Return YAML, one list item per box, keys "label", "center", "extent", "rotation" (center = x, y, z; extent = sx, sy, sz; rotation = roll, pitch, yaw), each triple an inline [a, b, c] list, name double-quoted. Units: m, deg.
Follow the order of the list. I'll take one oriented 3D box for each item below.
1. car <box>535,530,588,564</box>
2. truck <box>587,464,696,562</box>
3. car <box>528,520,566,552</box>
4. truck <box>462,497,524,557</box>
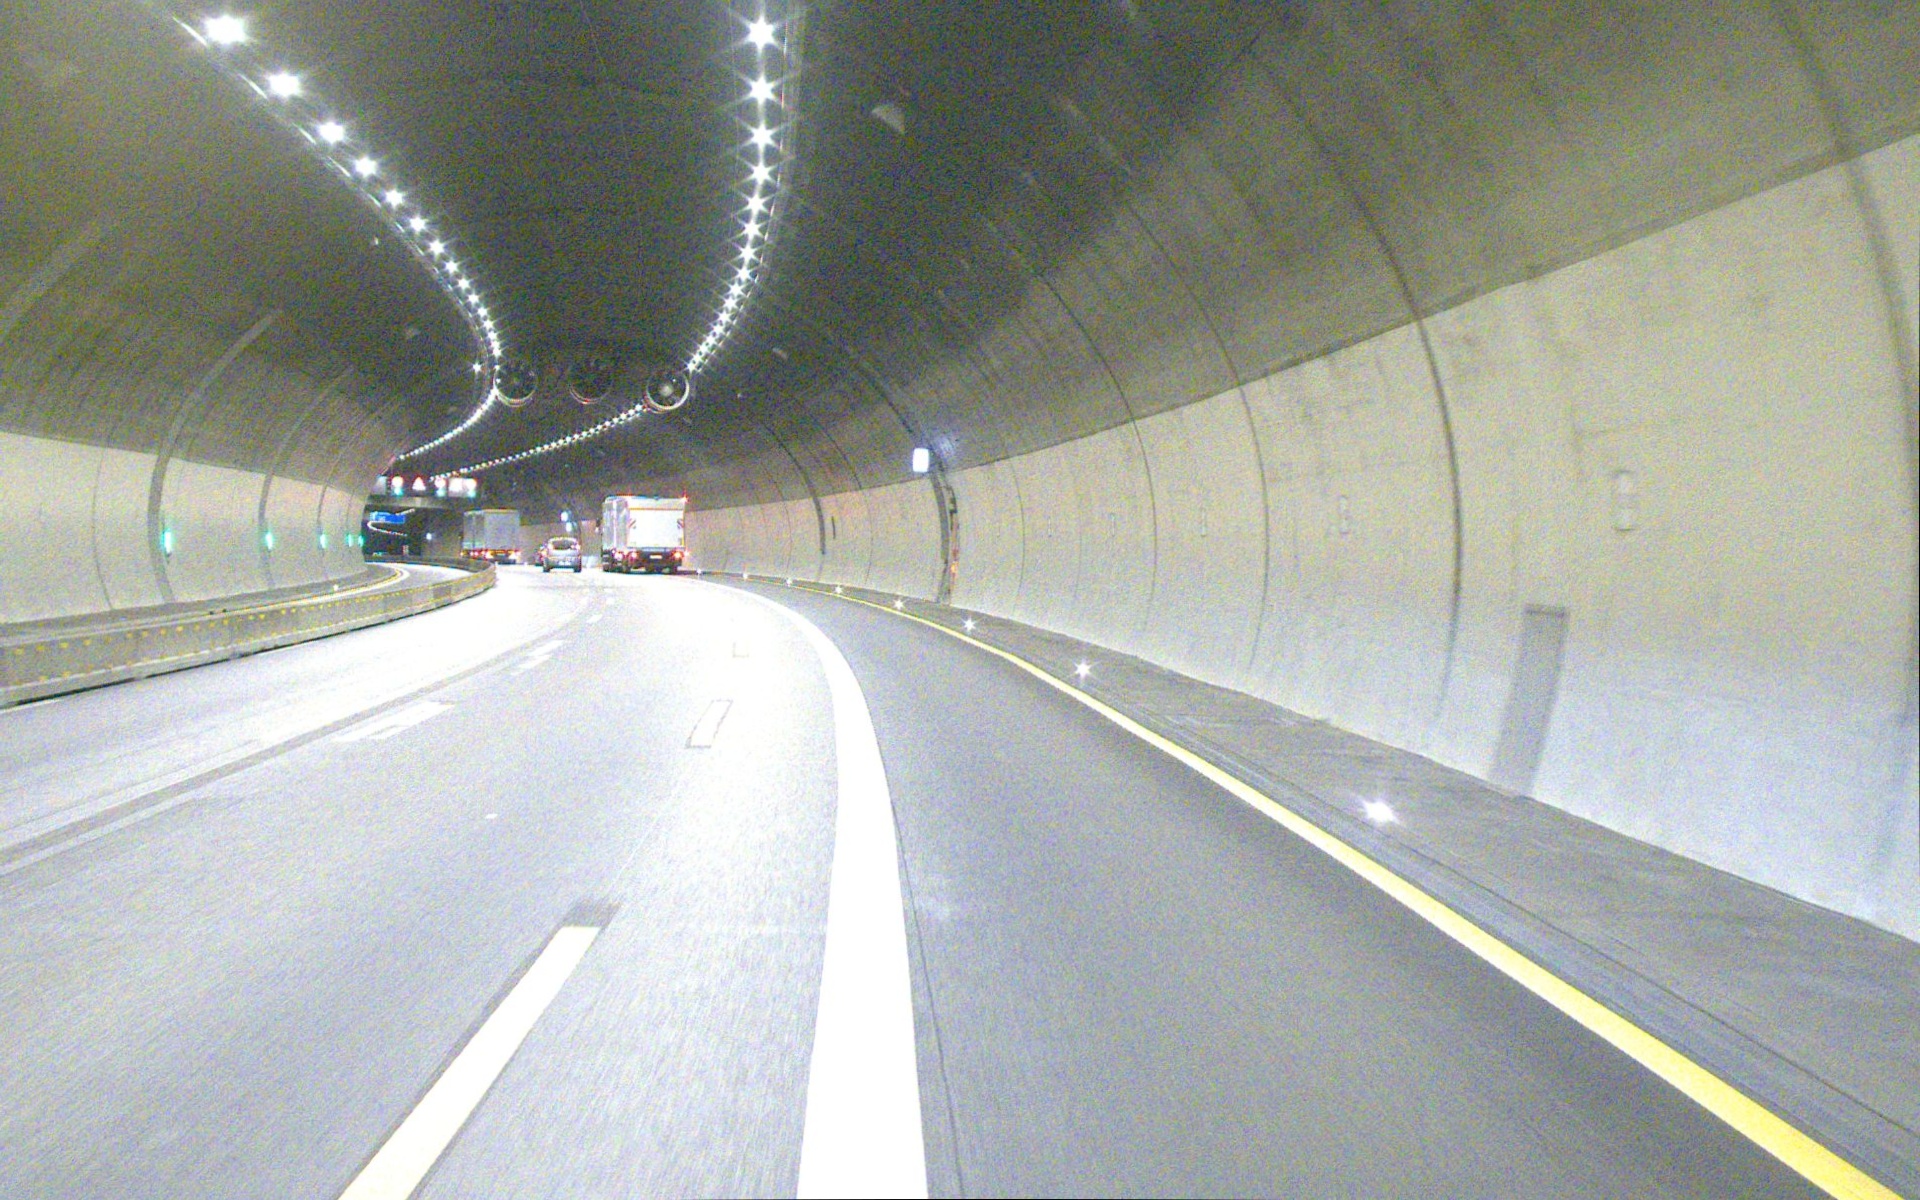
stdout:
- label: "car"
  center: [-18.779, -2.505, 161.940]
  extent: [1.993, 1.576, 4.001]
  rotation: [0, 1, -14]
- label: "truck"
  center: [-14.620, -3.945, 156.939]
  extent: [3.473, 4.301, 10.955]
  rotation: [0, 1, -13]
- label: "car"
  center: [-25.846, -4.023, 215.068]
  extent: [1.993, 2.007, 4.001]
  rotation: [0, 1, -11]
- label: "truck"
  center: [-34.629, -5.354, 254.445]
  extent: [3.473, 4.301, 10.955]
  rotation: [-1, 1, -13]
